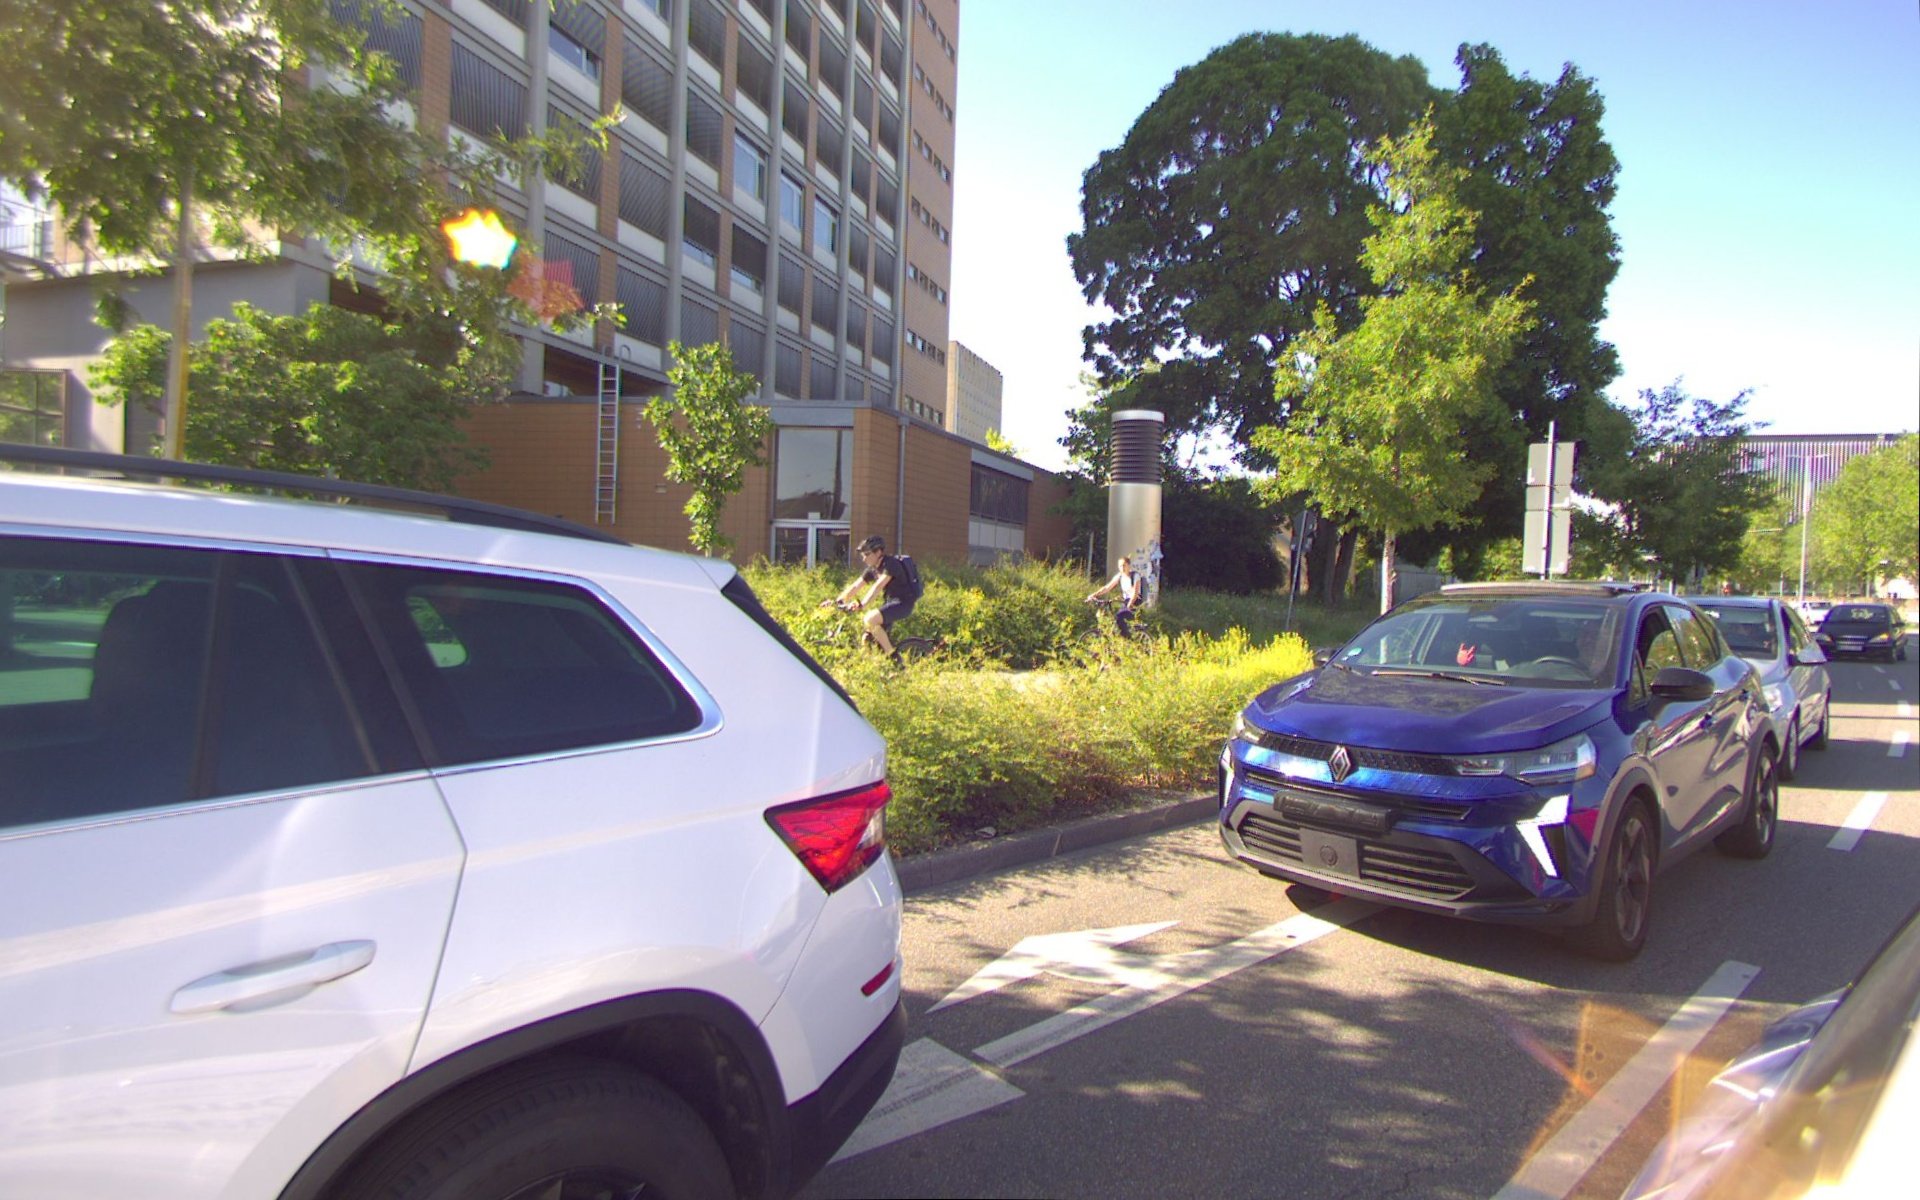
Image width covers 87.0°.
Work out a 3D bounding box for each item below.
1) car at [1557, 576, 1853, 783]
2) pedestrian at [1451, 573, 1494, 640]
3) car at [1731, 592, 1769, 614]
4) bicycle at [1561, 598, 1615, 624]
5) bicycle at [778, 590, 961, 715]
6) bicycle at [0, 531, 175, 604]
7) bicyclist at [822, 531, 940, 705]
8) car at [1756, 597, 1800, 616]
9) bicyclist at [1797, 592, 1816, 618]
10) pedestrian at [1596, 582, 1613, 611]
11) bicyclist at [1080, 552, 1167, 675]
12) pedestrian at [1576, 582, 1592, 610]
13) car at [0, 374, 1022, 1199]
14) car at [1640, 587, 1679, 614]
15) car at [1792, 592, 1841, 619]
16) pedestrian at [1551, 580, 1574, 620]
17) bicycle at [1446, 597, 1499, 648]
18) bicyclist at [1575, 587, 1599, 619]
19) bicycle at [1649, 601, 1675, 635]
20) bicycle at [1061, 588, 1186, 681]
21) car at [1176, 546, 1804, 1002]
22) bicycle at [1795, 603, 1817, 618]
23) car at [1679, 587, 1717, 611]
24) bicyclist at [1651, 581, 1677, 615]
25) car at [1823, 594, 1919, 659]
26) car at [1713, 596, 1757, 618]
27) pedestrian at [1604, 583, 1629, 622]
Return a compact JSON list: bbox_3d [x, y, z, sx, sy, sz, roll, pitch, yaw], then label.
[{"bbox_3d":[7.606,0.630,10.177,3.977,1.645,1.782,0,1,-45],"label":"car"},{"bbox_3d":[11.314,0.129,22.341,0.516,1.419,0.946,5,3,43],"label":"pedestrian"},{"bbox_3d":[61.523,0.213,78.863,1.578,1.625,3.048,2,1,23],"label":"car"},{"bbox_3d":[30.305,0.516,48.864,2.099,1.189,0.760,1,1,21],"label":"bicycle"},{"bbox_3d":[-0.866,0.482,10.119,1.820,1.127,0.626,0,2,-45],"label":"bicycle"},{"bbox_3d":[-17.988,-0.644,20.627,0.790,1.394,3.111,2,1,26],"label":"bicycle"},{"bbox_3d":[-0.788,0.163,10.187,0.978,1.658,0.626,1,1,-45],"label":"bicyclist"},{"bbox_3d":[58.663,0.475,72.632,1.569,1.219,3.966,0,1,25],"label":"car"},{"bbox_3d":[51.758,0.287,61.900,0.688,1.578,0.809,0,0,25],"label":"bicyclist"},{"bbox_3d":[44.150,-0.256,69.359,0.811,1.941,0.767,0,0,20],"label":"pedestrian"},{"bbox_3d":[2.249,0.166,13.903,0.960,1.618,0.686,1,1,-43],"label":"bicyclist"},{"bbox_3d":[43.117,-0.261,69.944,0.811,1.941,0.767,0,0,20],"label":"pedestrian"},{"bbox_3d":[-2.010,0.559,1.361,4.223,1.662,1.697,0,1,-42],"label":"car"},{"bbox_3d":[51.389,0.021,74.406,1.811,1.876,3.717,2,1,27],"label":"car"},{"bbox_3d":[54.954,0.342,64.969,1.509,1.701,3.353,1,0,24],"label":"car"},{"bbox_3d":[25.183,-0.012,42.312,0.685,1.624,0.656,2,1,24],"label":"pedestrian"},{"bbox_3d":[11.350,0.482,22.385,0.516,1.057,1.740,5,4,43],"label":"bicycle"},{"bbox_3d":[30.271,0.145,48.867,0.837,1.492,0.760,2,1,20],"label":"bicyclist"},{"bbox_3d":[27.937,0.704,40.281,0.687,1.232,1.814,4,3,31],"label":"bicycle"},{"bbox_3d":[2.278,0.450,13.946,1.851,1.178,0.686,1,1,-43],"label":"bicycle"},{"bbox_3d":[3.127,0.611,5.575,4.012,1.626,1.704,1,1,-41],"label":"car"},{"bbox_3d":[51.808,0.650,61.988,0.584,0.900,1.640,0,0,25],"label":"bicycle"},{"bbox_3d":[66.235,-0.095,90.905,1.767,2.039,4.201,1,1,22],"label":"car"},{"bbox_3d":[27.891,-0.096,40.125,0.717,1.294,0.897,4,3,32],"label":"bicyclist"},{"bbox_3d":[25.298,0.682,27.964,3.428,1.631,1.650,1,1,-40],"label":"car"},{"bbox_3d":[51.998,0.434,67.957,1.736,1.396,3.540,1,1,27],"label":"car"},{"bbox_3d":[27.400,0.095,42.238,0.685,1.624,0.657,2,1,22],"label":"pedestrian"}]
